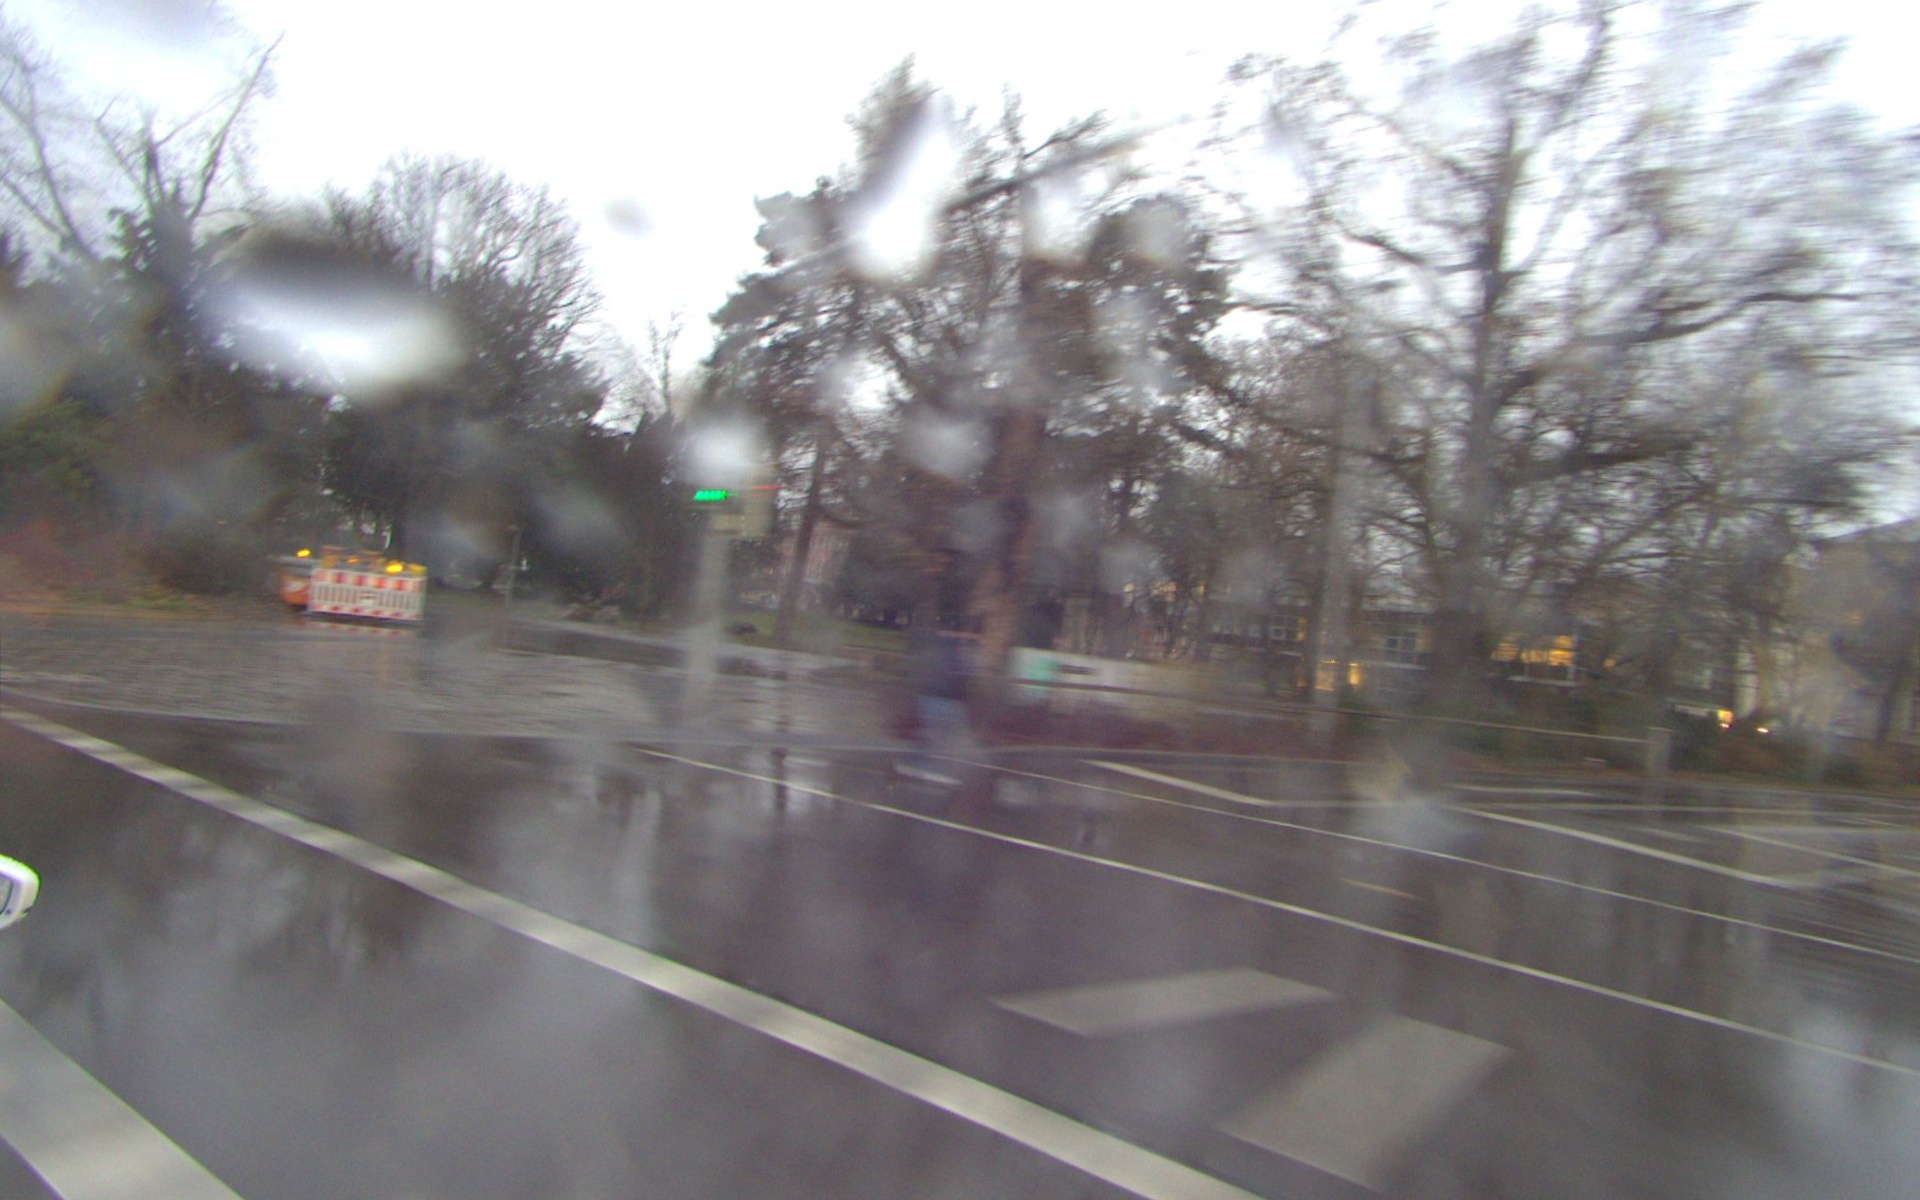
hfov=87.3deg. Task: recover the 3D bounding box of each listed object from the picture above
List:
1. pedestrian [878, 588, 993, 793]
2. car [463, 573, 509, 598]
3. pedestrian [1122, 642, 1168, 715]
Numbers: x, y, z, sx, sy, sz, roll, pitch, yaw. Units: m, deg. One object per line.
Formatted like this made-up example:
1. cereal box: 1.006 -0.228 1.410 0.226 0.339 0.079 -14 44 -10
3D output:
1. pedestrian: -0.234 0.897 10.044 0.663 1.900 0.715 6 -2 26
2. car: -49.946 -1.560 105.930 3.963 2.036 1.983 9 -3 -33
3. pedestrian: 4.511 1.907 24.477 0.836 1.659 0.727 7 -2 17
